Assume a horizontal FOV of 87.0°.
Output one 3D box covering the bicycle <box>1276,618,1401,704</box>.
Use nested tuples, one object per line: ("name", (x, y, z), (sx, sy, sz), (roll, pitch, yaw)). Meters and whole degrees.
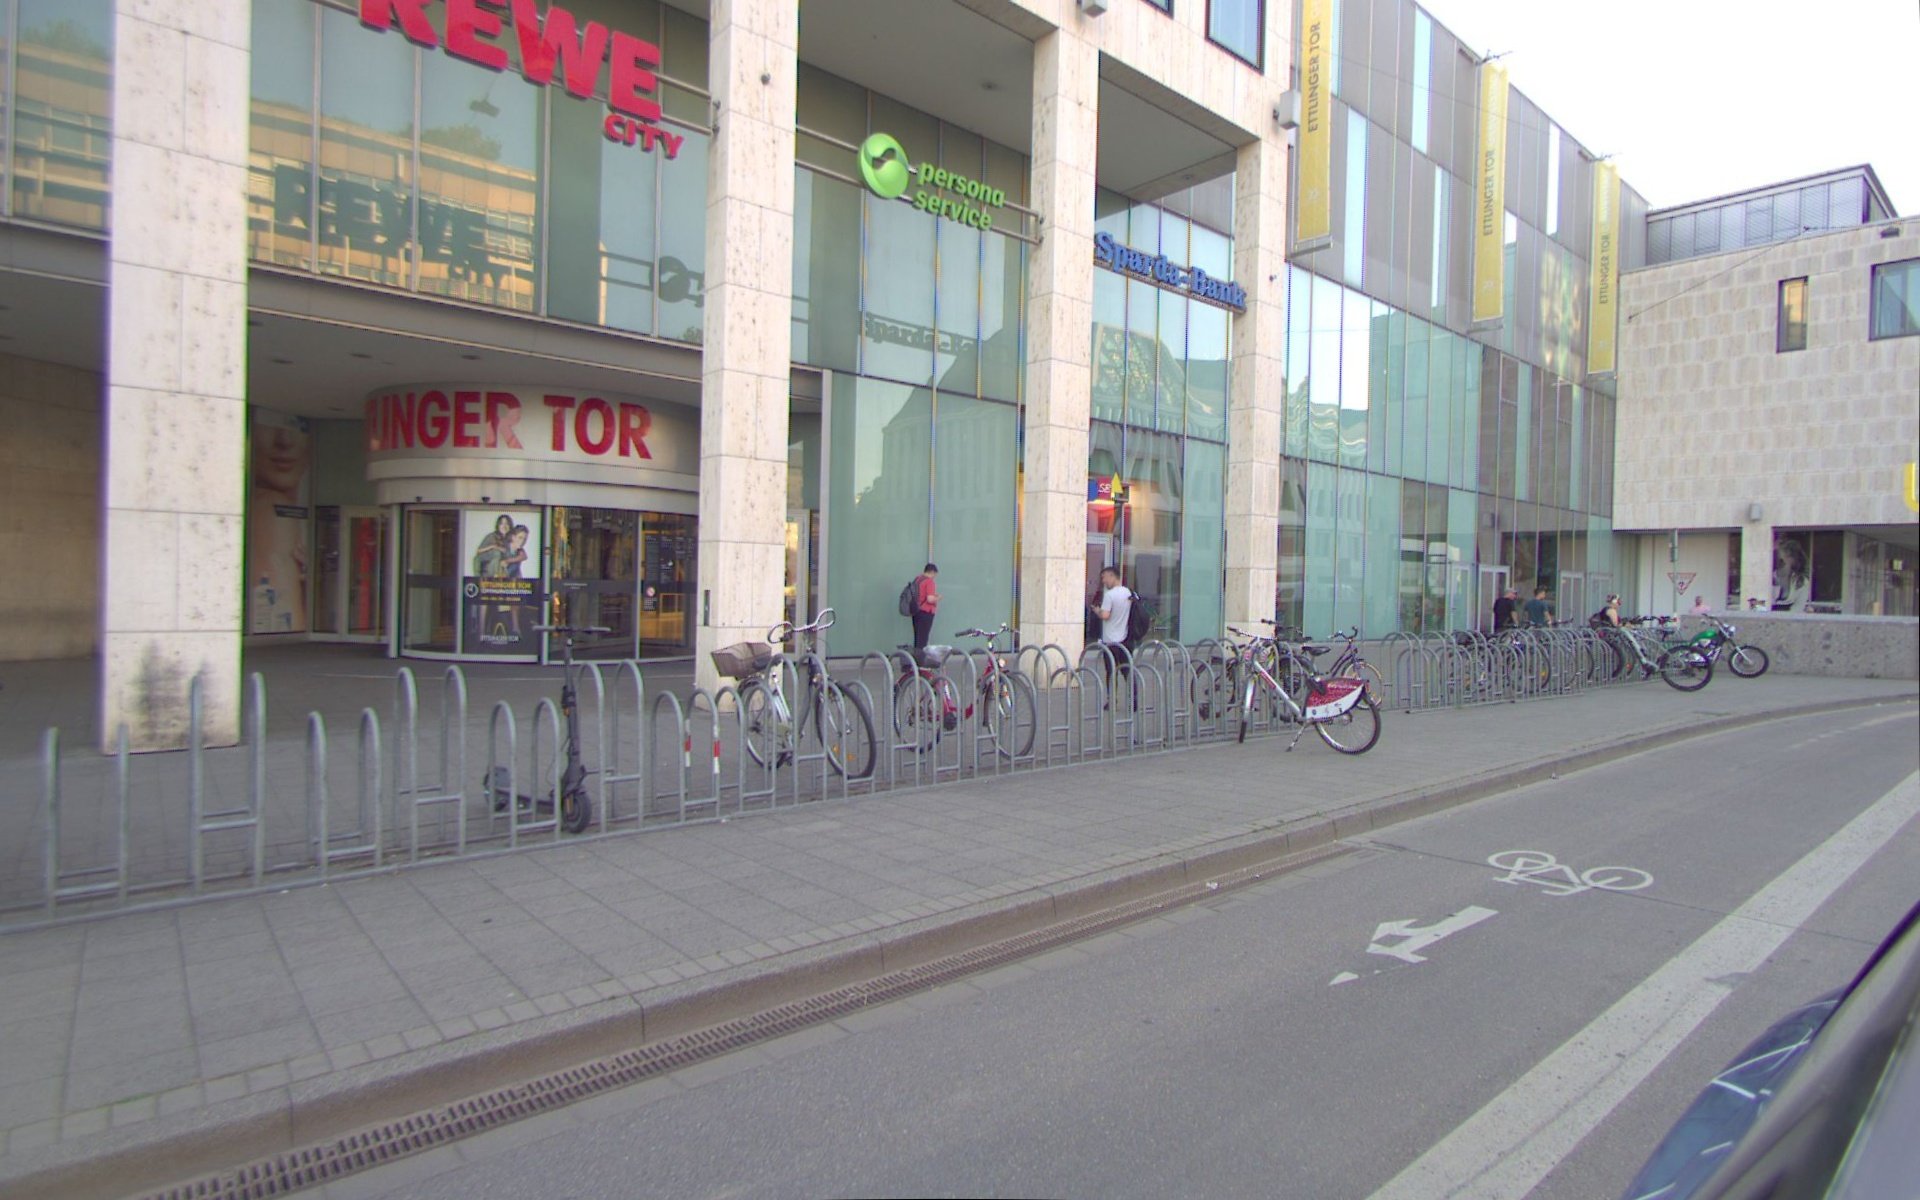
("bicycle", (5.016, 0.783, 13.451), (1.439, 1.078, 0.572), (-1, -2, 39))

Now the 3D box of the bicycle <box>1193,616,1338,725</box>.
("bicycle", (3.382, 0.744, 11.311), (0.569, 1.138, 1.519), (1, -2, -36))

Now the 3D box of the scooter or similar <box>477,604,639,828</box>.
("scooter or similar", (-2.515, 0.653, 6.276), (0.484, 1.214, 1.194), (1, 1, -44))

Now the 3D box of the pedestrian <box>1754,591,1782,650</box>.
("pedestrian", (24.504, 0.605, 30.690), (0.644, 1.765, 0.494), (1, 1, -38))

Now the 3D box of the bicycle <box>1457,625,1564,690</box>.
("bicycle", (8.458, 0.857, 15.586), (0.509, 0.944, 1.344), (1, -2, -41))

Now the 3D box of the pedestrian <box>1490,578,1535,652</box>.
("pedestrian", (12.885, 0.341, 23.598), (0.738, 1.668, 0.808), (2, 1, 41))

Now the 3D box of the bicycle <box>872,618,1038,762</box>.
("bicycle", (-0.072, 0.716, 8.670), (0.543, 1.120, 1.516), (1, -2, -43))

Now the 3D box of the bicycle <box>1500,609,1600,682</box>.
("bicycle", (9.834, 0.739, 16.896), (0.509, 1.179, 1.344), (1, -2, -41))

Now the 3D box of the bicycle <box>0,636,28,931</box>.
("bicycle", (-4.552, 0.734, 4.478), (1.768, 1.092, 0.475), (3, 1, 43))

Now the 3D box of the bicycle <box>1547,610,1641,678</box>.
("bicycle", (11.397, 0.771, 18.220), (0.509, 1.179, 1.344), (1, -2, -41))

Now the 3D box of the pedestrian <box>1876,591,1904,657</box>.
("pedestrian", (25.558, 0.653, 27.816), (0.483, 1.765, 0.455), (1, 1, -38))

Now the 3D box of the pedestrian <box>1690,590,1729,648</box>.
("pedestrian", (23.472, 0.592, 31.697), (0.644, 1.765, 0.794), (1, 1, -38))

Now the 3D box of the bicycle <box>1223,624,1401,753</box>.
("bicycle", (3.174, 0.762, 9.248), (0.458, 1.077, 1.518), (1, -2, -39))

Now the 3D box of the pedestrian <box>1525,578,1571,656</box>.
("pedestrian", (13.298, 0.365, 22.879), (0.696, 1.717, 0.807), (2, 1, 44))

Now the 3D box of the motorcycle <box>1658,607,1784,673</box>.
("motorcycle", (15.582, 0.792, 20.766), (0.472, 1.239, 2.004), (1, 1, -43))

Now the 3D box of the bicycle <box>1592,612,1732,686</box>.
("bicycle", (11.569, 0.776, 16.745), (0.458, 1.161, 1.837), (1, -2, -39))

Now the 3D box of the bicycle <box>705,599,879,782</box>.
("bicycle", (-1.304, 0.628, 7.668), (0.607, 1.243, 1.517), (1, -2, -41))

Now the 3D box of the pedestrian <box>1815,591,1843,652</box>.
("pedestrian", (25.639, 0.635, 29.849), (0.483, 1.765, 0.504), (1, 1, -38))

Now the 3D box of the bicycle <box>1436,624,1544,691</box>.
("bicycle", (7.948, 0.844, 15.207), (0.509, 0.944, 1.344), (1, -2, -41))

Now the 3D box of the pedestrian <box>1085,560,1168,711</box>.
("pedestrian", (1.970, 0.395, 12.005), (0.618, 1.713, 0.707), (1, 1, -41))

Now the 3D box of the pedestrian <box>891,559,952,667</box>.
("pedestrian", (-0.615, 0.195, 16.099), (0.695, 1.672, 0.629), (1, 1, -40))

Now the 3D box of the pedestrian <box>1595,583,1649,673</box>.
("pedestrian", (12.712, 0.515, 19.450), (0.802, 1.663, 0.640), (2, 1, 31))
